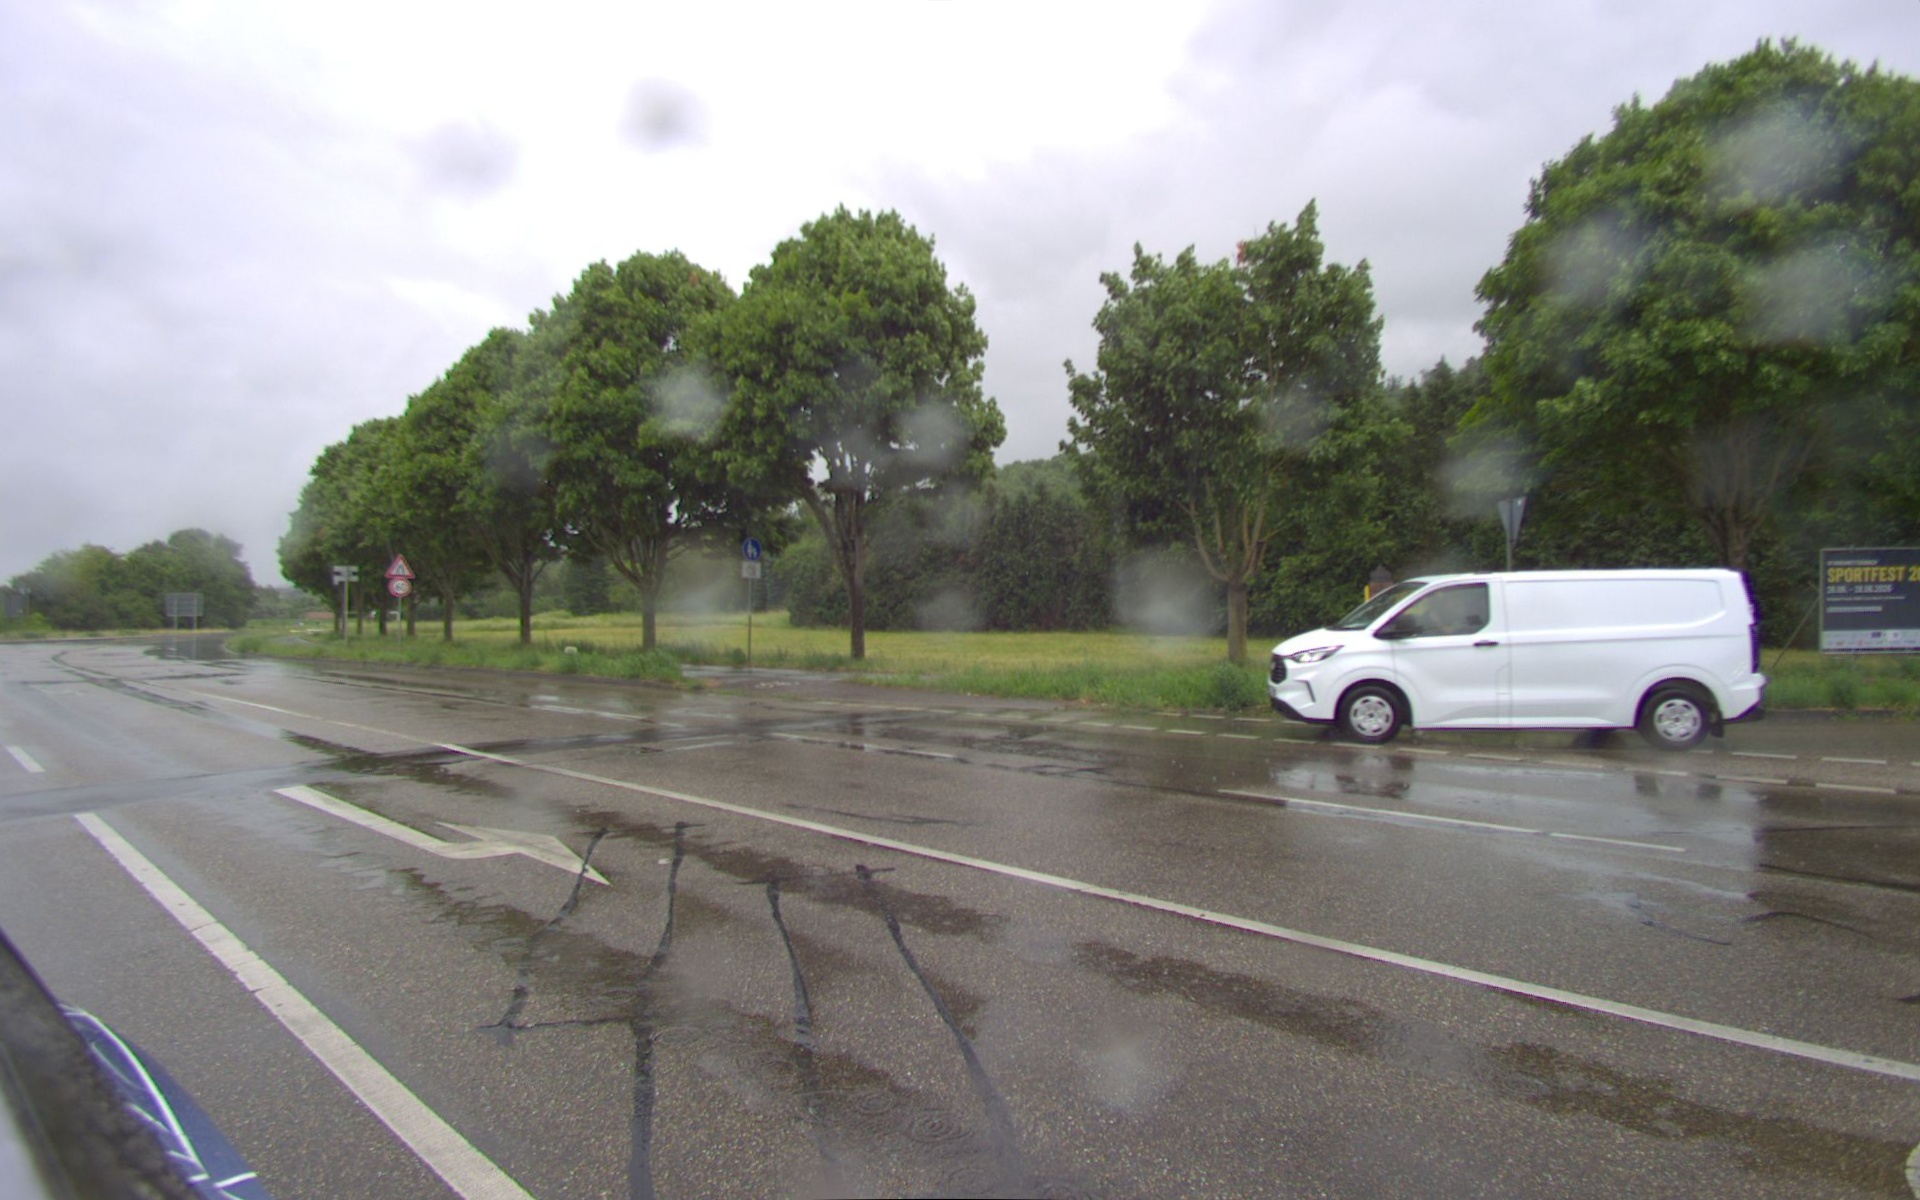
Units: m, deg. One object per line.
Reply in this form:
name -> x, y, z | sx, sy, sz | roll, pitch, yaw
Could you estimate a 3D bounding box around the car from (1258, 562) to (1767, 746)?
car -> 6.136, 0.625, 11.896 | 4.735, 1.907, 2.108 | -1, -1, 8
